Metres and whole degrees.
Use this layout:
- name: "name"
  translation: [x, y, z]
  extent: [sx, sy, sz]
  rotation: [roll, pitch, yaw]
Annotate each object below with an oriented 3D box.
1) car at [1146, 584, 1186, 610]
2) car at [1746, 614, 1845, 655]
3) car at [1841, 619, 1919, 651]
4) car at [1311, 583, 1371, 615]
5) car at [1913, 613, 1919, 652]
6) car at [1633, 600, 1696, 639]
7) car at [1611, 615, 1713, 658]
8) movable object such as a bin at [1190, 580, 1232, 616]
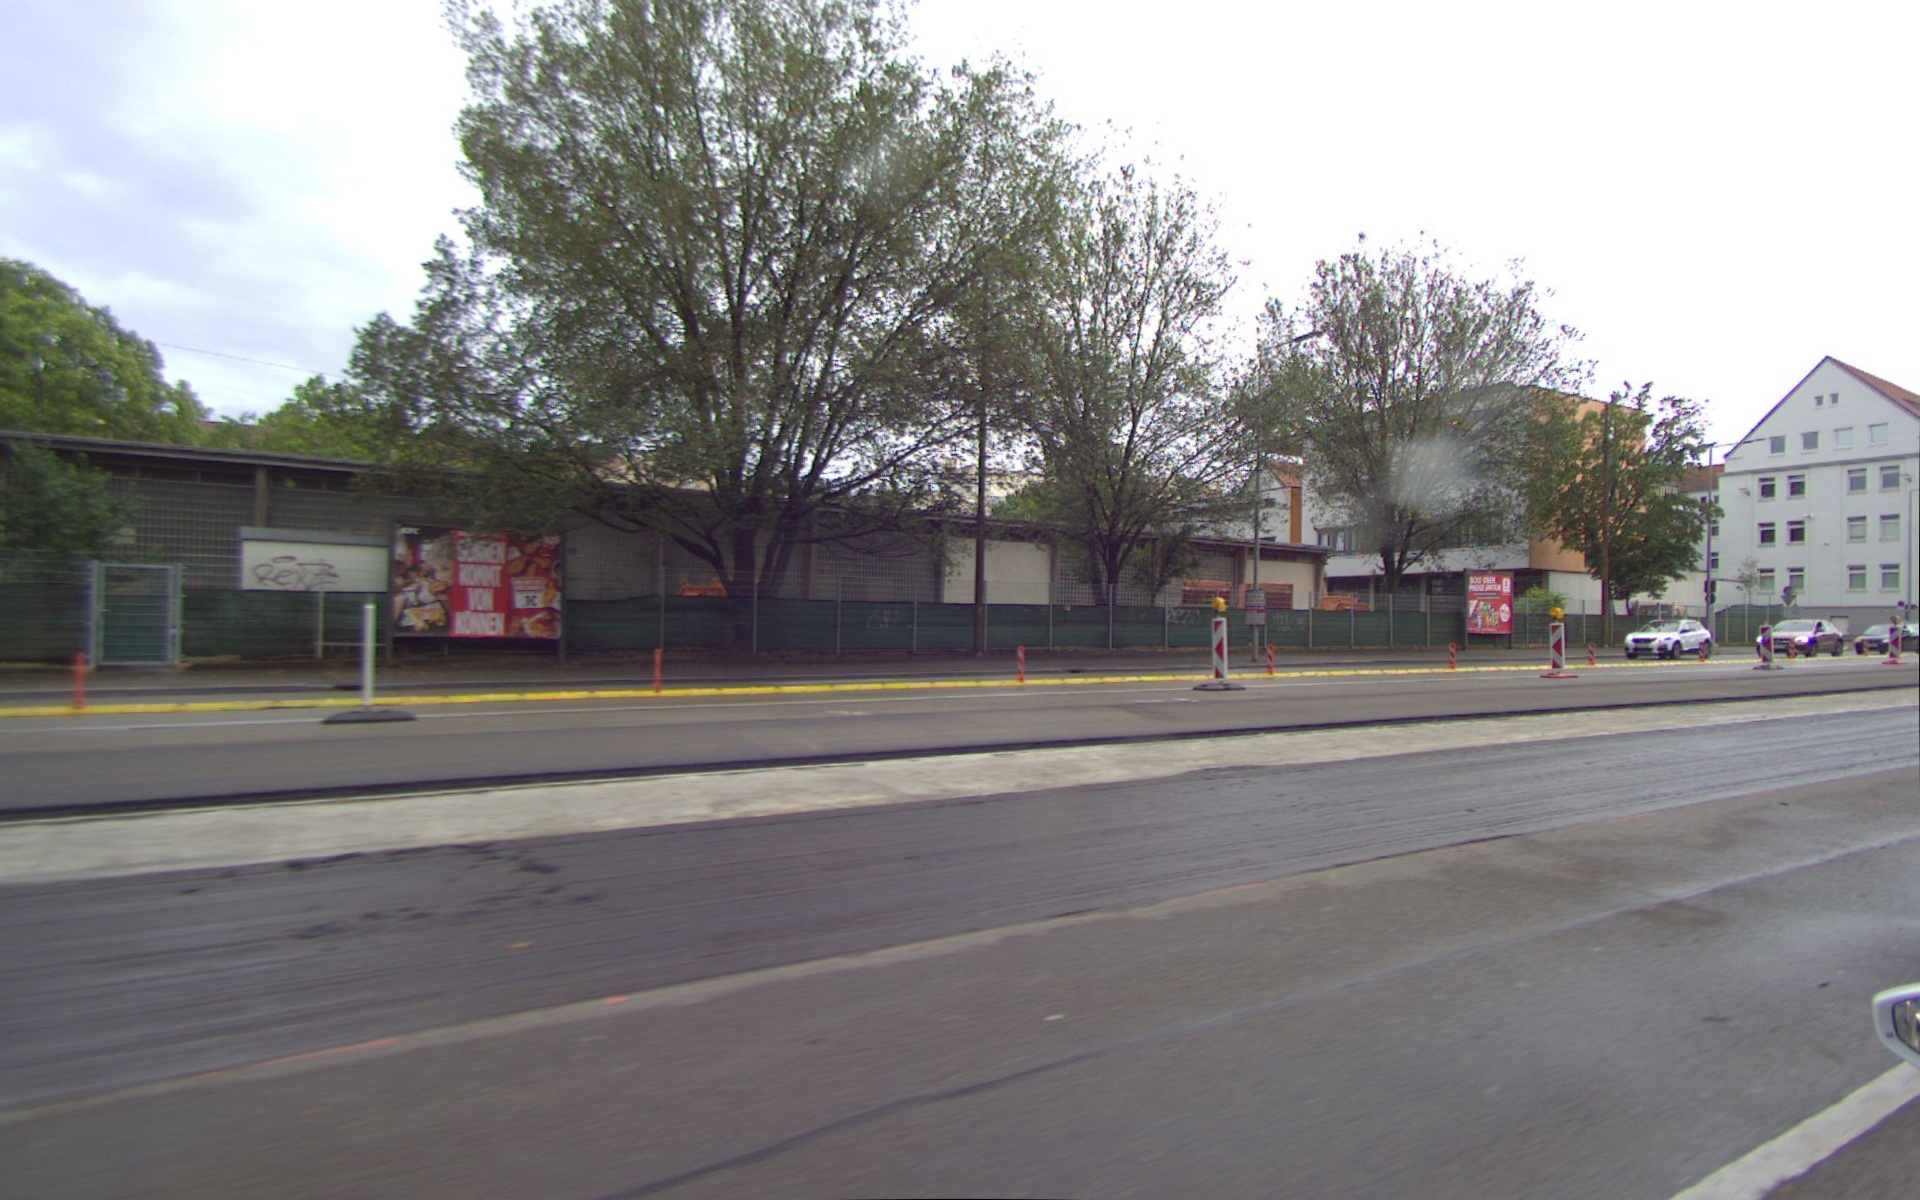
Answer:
- name: "car"
  translation: [9.503, -0.116, 46.142]
  extent: [1.718, 1.076, 4.026]
  rotation: [0, -1, 12]
- name: "car"
  translation: [35.248, 1.461, 42.373]
  extent: [4.314, 1.640, 1.850]
  rotation: [1, -3, -31]
- name: "car"
  translation: [45.120, 1.710, 49.244]
  extent: [3.689, 1.495, 1.850]
  rotation: [1, -3, -31]
- name: "car"
  translation: [19.308, -0.027, 51.059]
  extent: [1.959, 1.548, 4.026]
  rotation: [0, -1, 8]
- name: "car"
  translation: [43.432, 1.435, 43.621]
  extent: [4.344, 1.672, 1.884]
  rotation: [1, -1, -30]
- name: "car"
  translation: [40.967, 1.116, 58.386]
  extent: [3.955, 2.199, 1.601]
  rotation: [1, -1, -32]
- name: "car"
  translation: [29.421, 1.533, 42.064]
  extent: [4.314, 1.728, 1.850]
  rotation: [1, -3, -31]
- name: "movable object such as a bin"
  translation: [11.326, -0.076, 45.571]
  extent: [1.718, 1.548, 4.026]
  rotation: [0, -1, 12]
